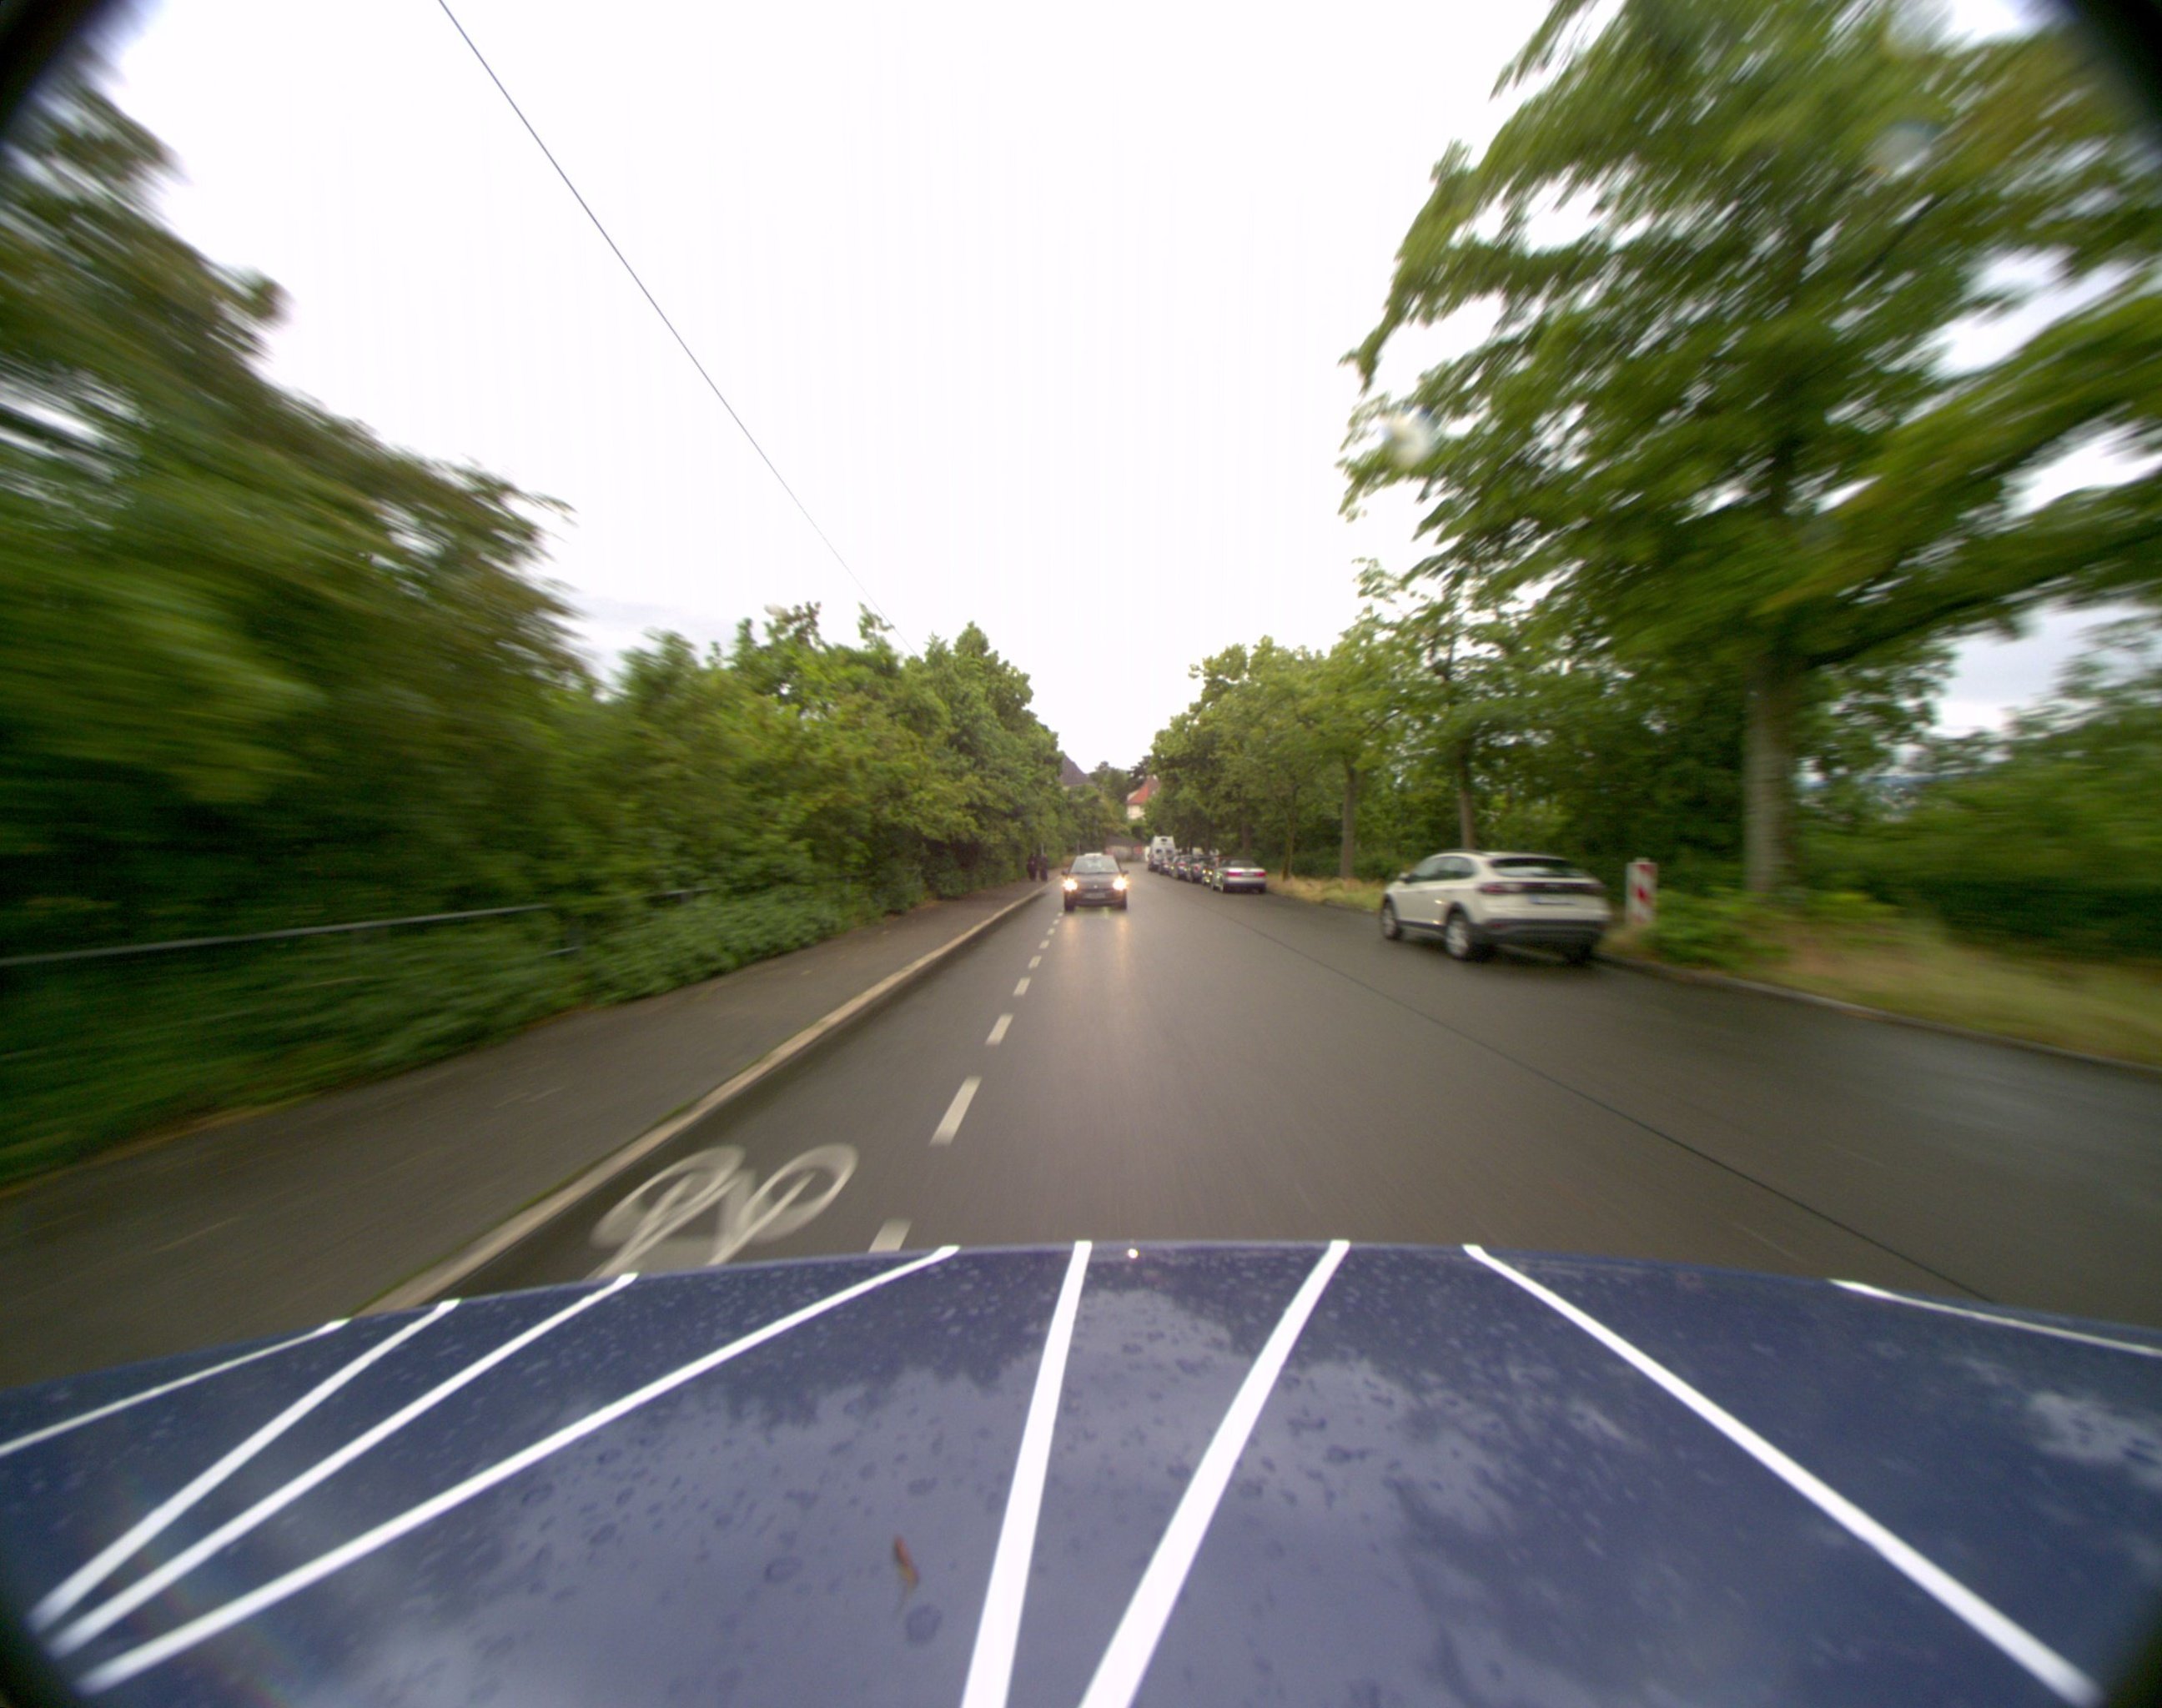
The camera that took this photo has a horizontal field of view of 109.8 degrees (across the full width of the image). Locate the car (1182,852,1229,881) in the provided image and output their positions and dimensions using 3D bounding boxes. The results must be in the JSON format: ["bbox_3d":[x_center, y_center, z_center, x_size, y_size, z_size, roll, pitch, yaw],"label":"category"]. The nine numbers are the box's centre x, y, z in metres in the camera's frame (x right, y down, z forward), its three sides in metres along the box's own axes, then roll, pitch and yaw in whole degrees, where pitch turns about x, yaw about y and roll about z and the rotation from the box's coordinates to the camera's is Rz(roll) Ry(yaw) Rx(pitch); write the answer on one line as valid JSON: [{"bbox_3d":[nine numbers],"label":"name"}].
[{"bbox_3d":[6.614,0.634,40.867,1.998,1.397,4.714,1,1,3],"label":"car"}]

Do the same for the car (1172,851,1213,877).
[{"bbox_3d":[6.635,0.584,45.678,1.998,1.397,4.714,1,1,3],"label":"car"}]

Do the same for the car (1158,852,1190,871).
[{"bbox_3d":[6.895,0.553,56.819,1.998,1.301,5.356,1,0,3],"label":"car"}]

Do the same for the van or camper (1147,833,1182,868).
[{"bbox_3d":[7.328,-0.339,67.395,2.511,3.009,6.561,0,1,2],"label":"van or camper"}]

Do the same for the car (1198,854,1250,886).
[{"bbox_3d":[6.656,0.691,35.678,1.599,1.354,4.000,0,1,-1],"label":"car"}]

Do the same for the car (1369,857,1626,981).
[{"bbox_3d":[5.879,0.800,11.394,1.692,1.429,4.256,0,1,3],"label":"car"}]

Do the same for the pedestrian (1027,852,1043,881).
[{"bbox_3d":[-2.497,0.678,41.393,0.598,1.558,0.667,1,4,-24],"label":"pedestrian"}]

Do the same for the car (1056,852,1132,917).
[{"bbox_3d":[0.302,0.739,20.634,1.804,1.419,4.381,-1,2,0],"label":"car"}]

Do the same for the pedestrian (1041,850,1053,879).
[{"bbox_3d":[-1.871,0.578,41.643,0.554,1.558,0.486,1,5,-13],"label":"pedestrian"}]

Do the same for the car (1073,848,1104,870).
[{"bbox_3d":[0.609,0.375,60.836,2.029,1.619,4.230,0,1,7],"label":"car"}]

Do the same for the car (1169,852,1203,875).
[{"bbox_3d":[6.916,0.604,50.650,1.998,1.397,4.716,1,0,5],"label":"car"}]

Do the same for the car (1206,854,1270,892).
[{"bbox_3d":[6.241,0.718,30.656,1.759,1.394,4.419,0,0,1],"label":"car"}]
